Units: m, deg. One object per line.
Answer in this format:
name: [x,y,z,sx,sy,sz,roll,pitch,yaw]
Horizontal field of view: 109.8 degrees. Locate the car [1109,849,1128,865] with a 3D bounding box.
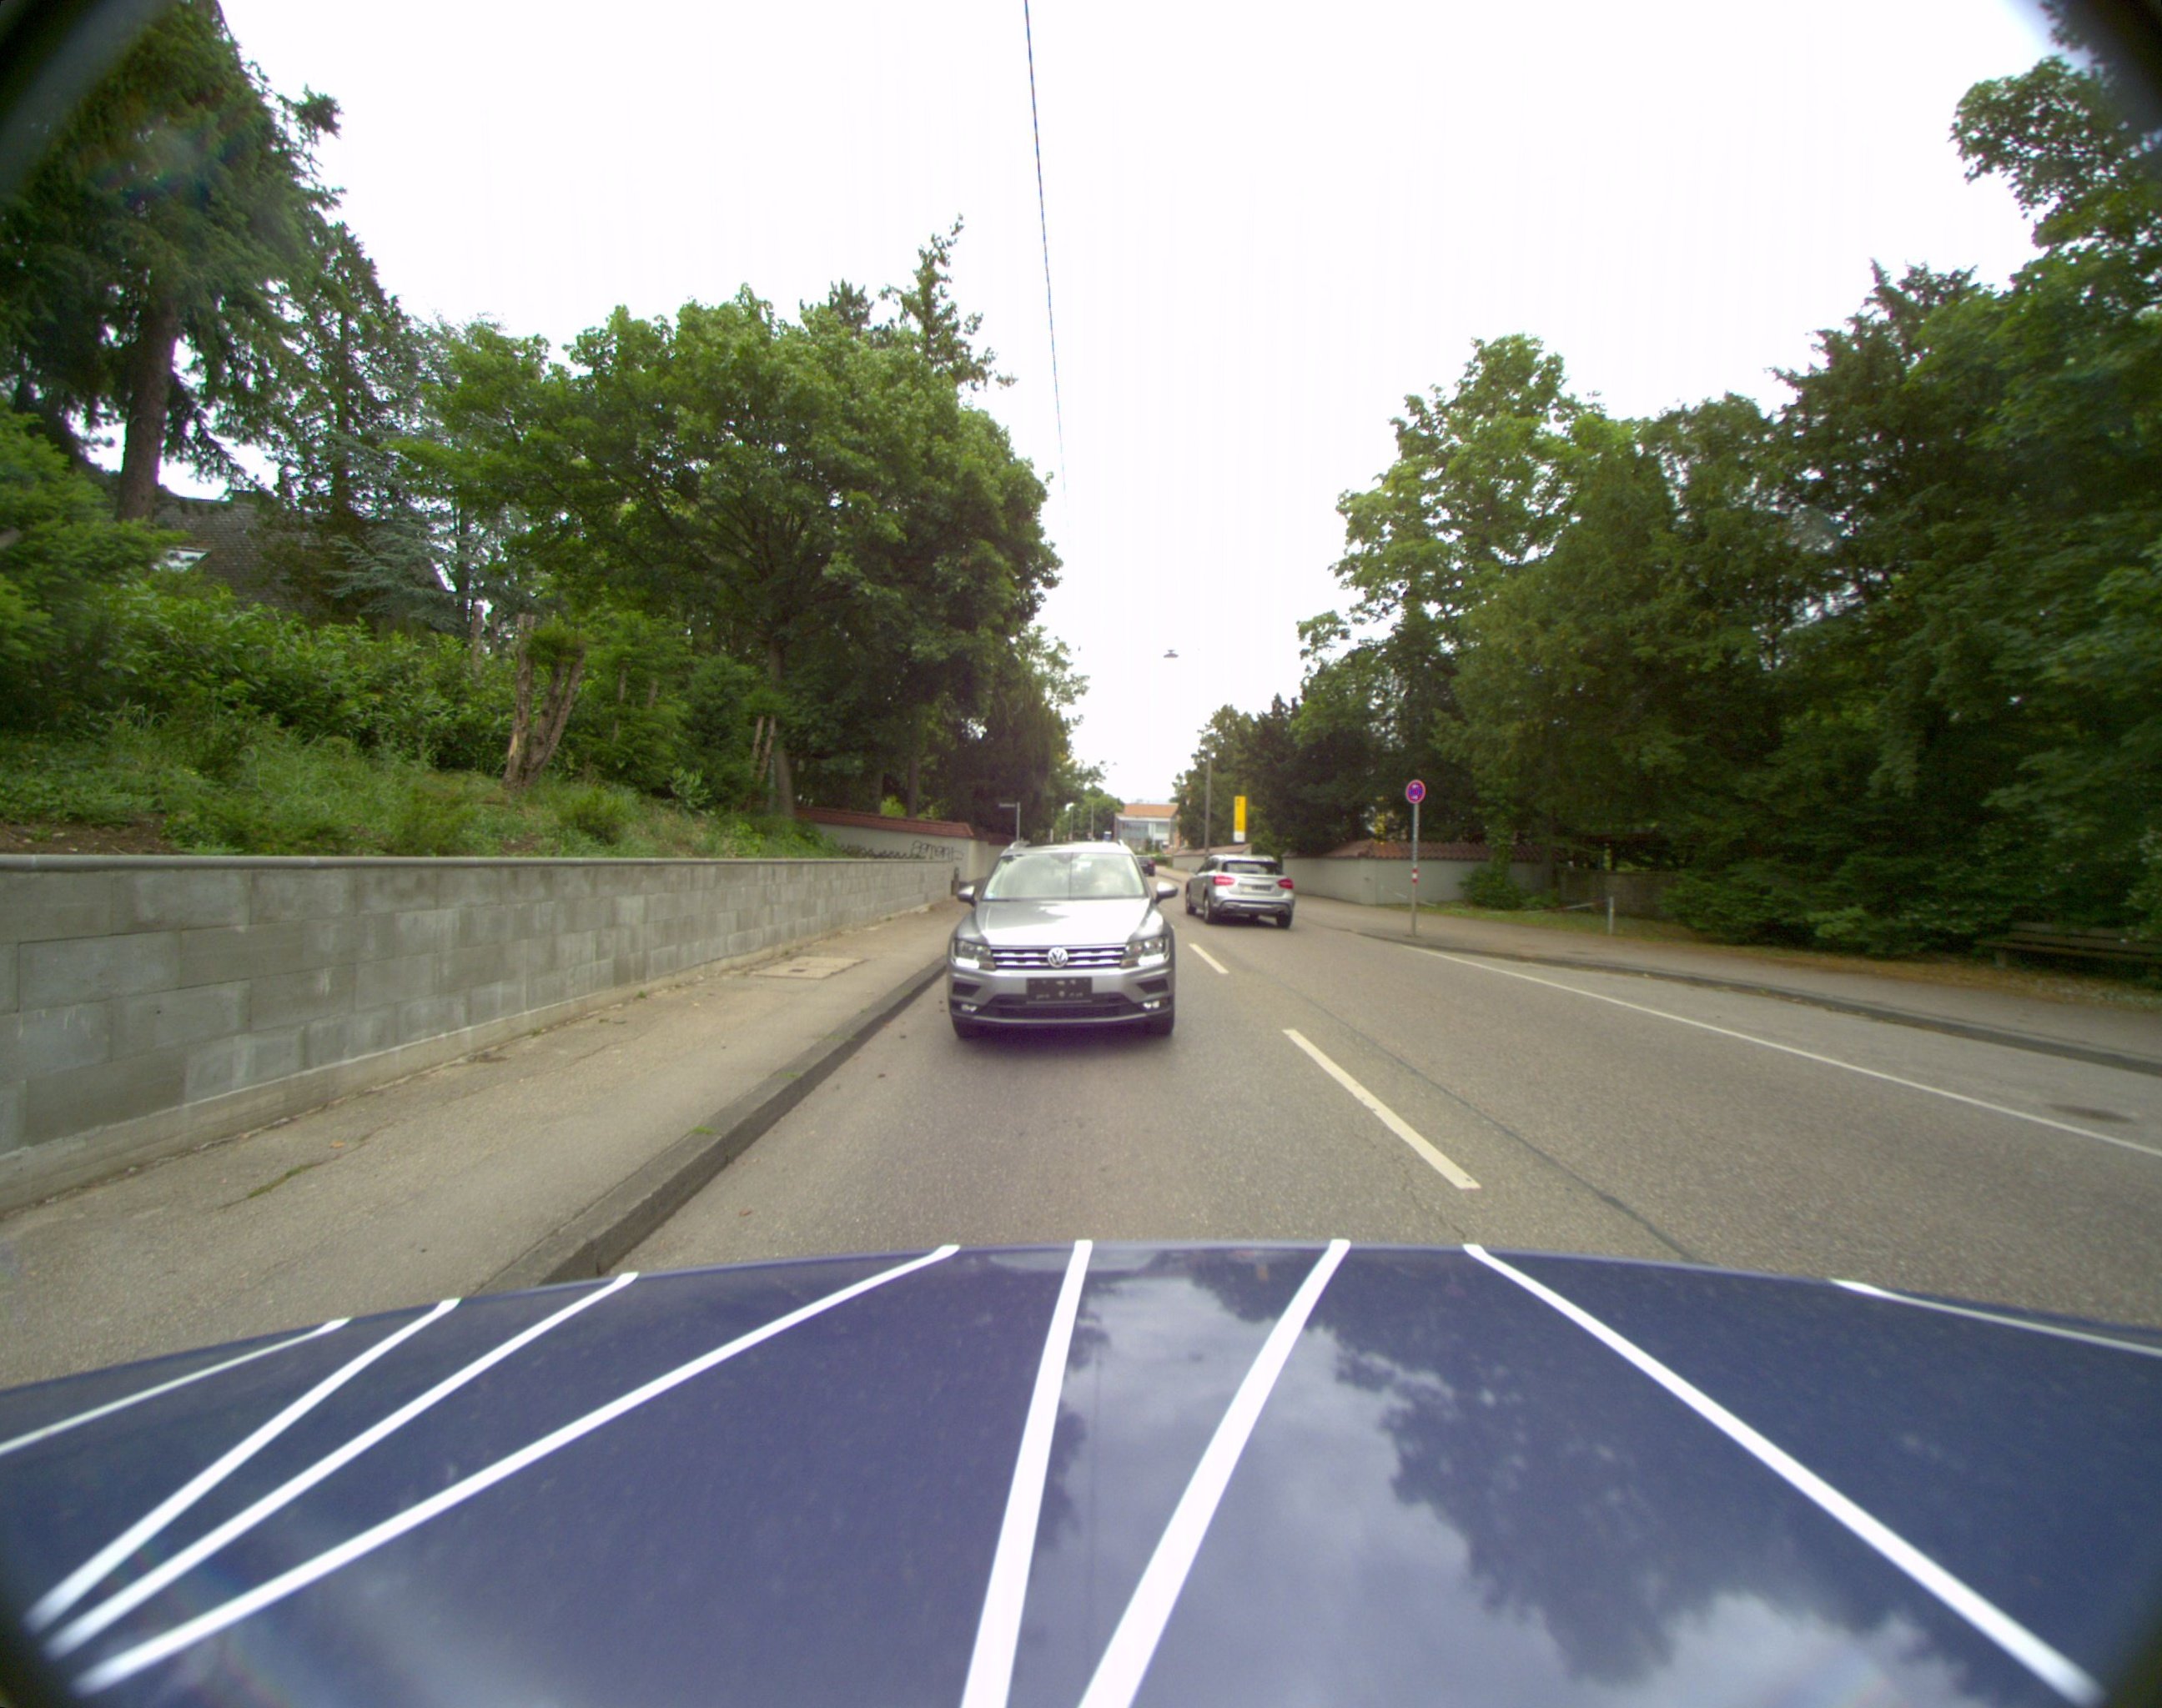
car: [4.094,0.332,84.414,1.864,1.648,4.305,3,0,1]

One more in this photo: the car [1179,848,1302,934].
car: [3.452,0.729,17.219,1.789,1.644,4.120,3,0,-1]

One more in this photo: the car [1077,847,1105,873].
car: [0.679,0.408,52.200,1.789,1.644,4.120,3,0,1]

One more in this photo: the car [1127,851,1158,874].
car: [4.269,0.597,53.426,1.864,1.445,4.110,3,0,1]

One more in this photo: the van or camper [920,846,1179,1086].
van or camper: [-0.193,0.769,7.401,1.800,1.663,4.198,0,0,1]
